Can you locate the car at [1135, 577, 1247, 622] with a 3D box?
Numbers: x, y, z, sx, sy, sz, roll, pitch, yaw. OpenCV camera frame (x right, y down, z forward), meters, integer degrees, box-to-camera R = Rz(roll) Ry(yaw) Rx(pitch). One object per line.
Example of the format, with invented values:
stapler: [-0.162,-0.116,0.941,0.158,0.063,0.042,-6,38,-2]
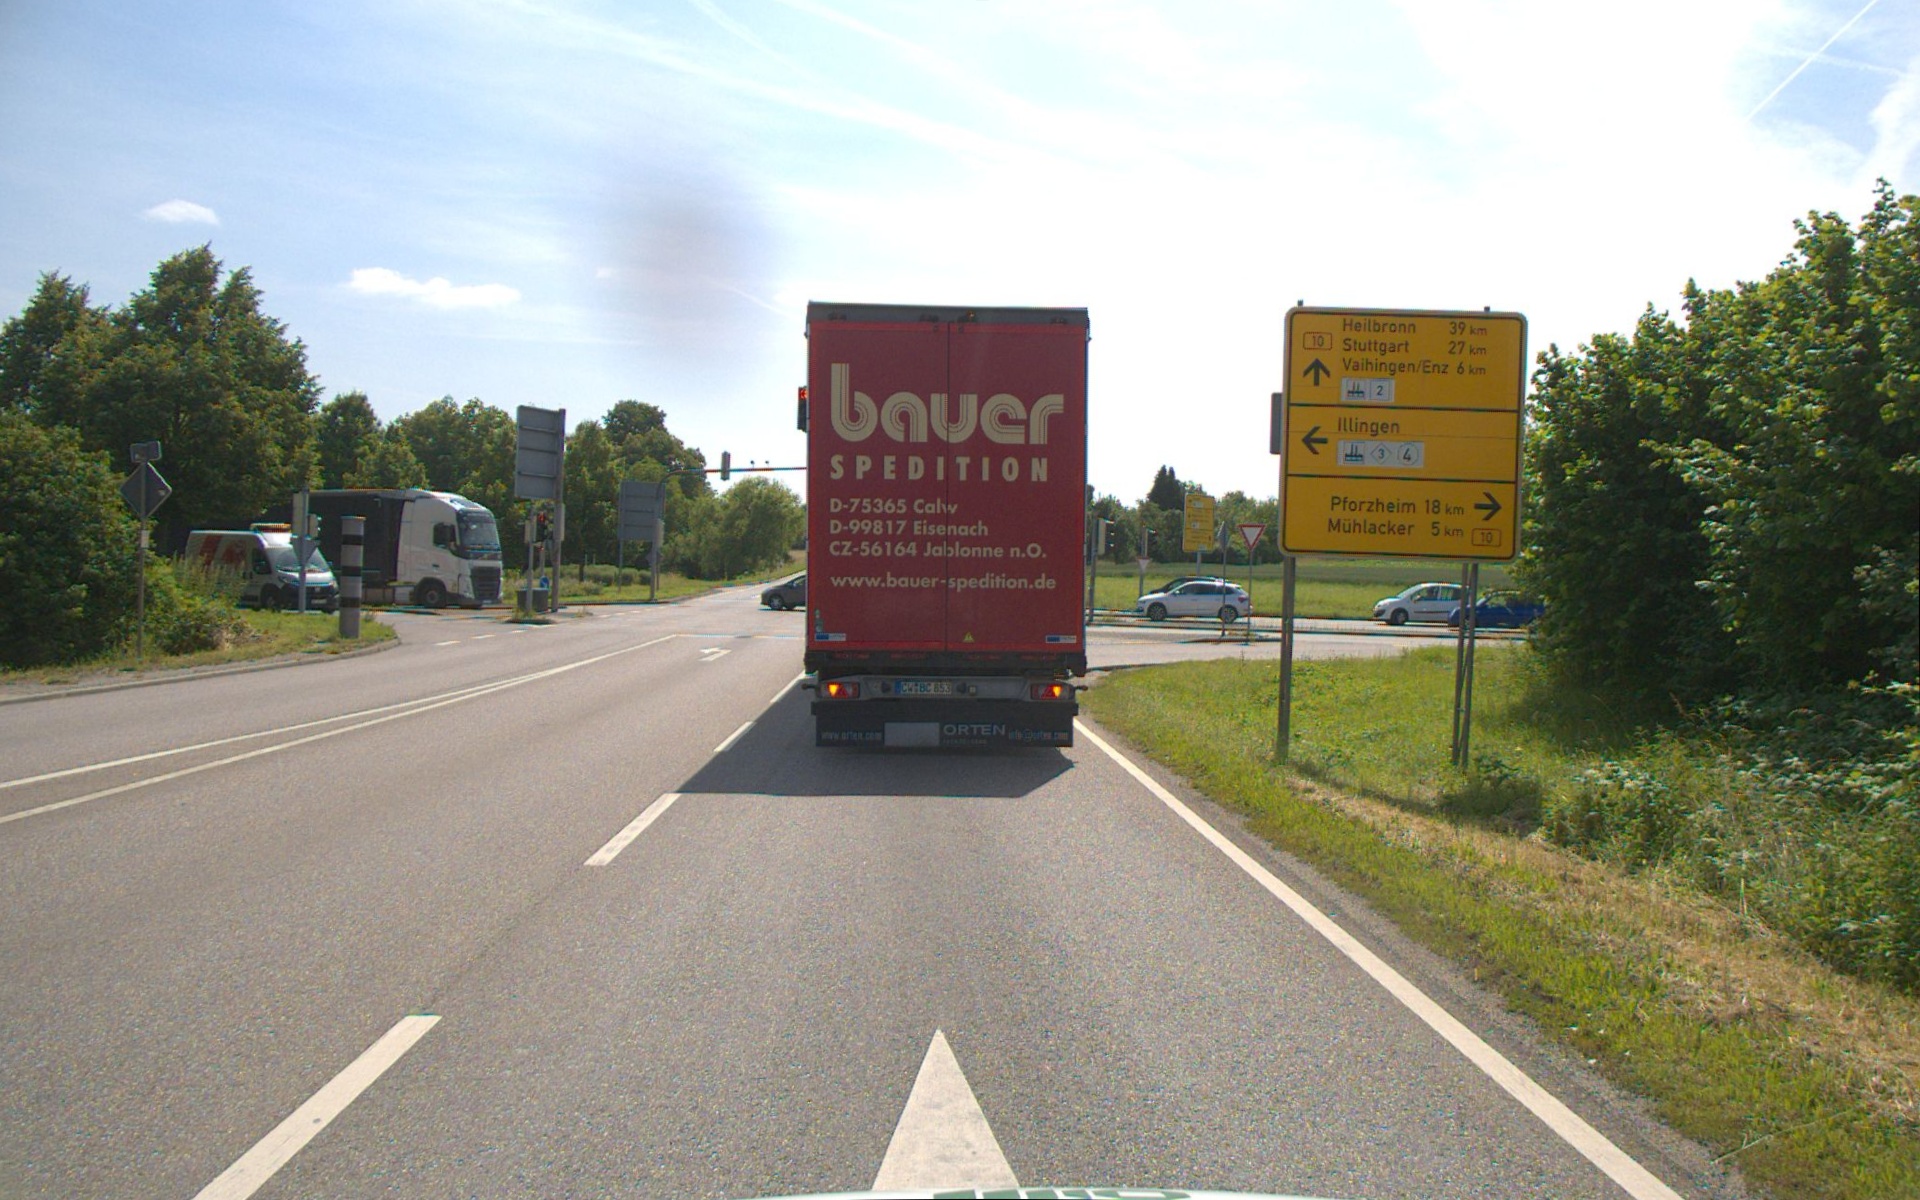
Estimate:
car: [8.618,-0.023,61.468,4.012,1.574,1.875,1,0,11]

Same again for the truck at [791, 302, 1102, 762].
truck: [-0.439,-0.715,22.808,2.680,3.993,16.619,1,1,-2]

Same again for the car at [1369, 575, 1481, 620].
car: [17.584,-0.084,62.685,3.748,1.662,1.761,1,0,0]

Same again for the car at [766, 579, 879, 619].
car: [-5.309,-0.036,64.004,3.902,1.454,2.002,2,0,11]

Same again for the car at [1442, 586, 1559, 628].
car: [19.179,0.238,58.816,3.766,1.380,1.678,2,1,11]

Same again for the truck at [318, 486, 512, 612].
truck: [-18.630,-1.761,56.669,5.703,4.131,2.800,2,1,16]

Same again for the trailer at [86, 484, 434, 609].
trailer: [-25.182,-1.991,59.210,13.405,4.131,2.798,2,1,22]

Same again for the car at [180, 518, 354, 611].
car: [-21.306,-1.131,50.730,5.864,2.700,2.118,2,2,35]
